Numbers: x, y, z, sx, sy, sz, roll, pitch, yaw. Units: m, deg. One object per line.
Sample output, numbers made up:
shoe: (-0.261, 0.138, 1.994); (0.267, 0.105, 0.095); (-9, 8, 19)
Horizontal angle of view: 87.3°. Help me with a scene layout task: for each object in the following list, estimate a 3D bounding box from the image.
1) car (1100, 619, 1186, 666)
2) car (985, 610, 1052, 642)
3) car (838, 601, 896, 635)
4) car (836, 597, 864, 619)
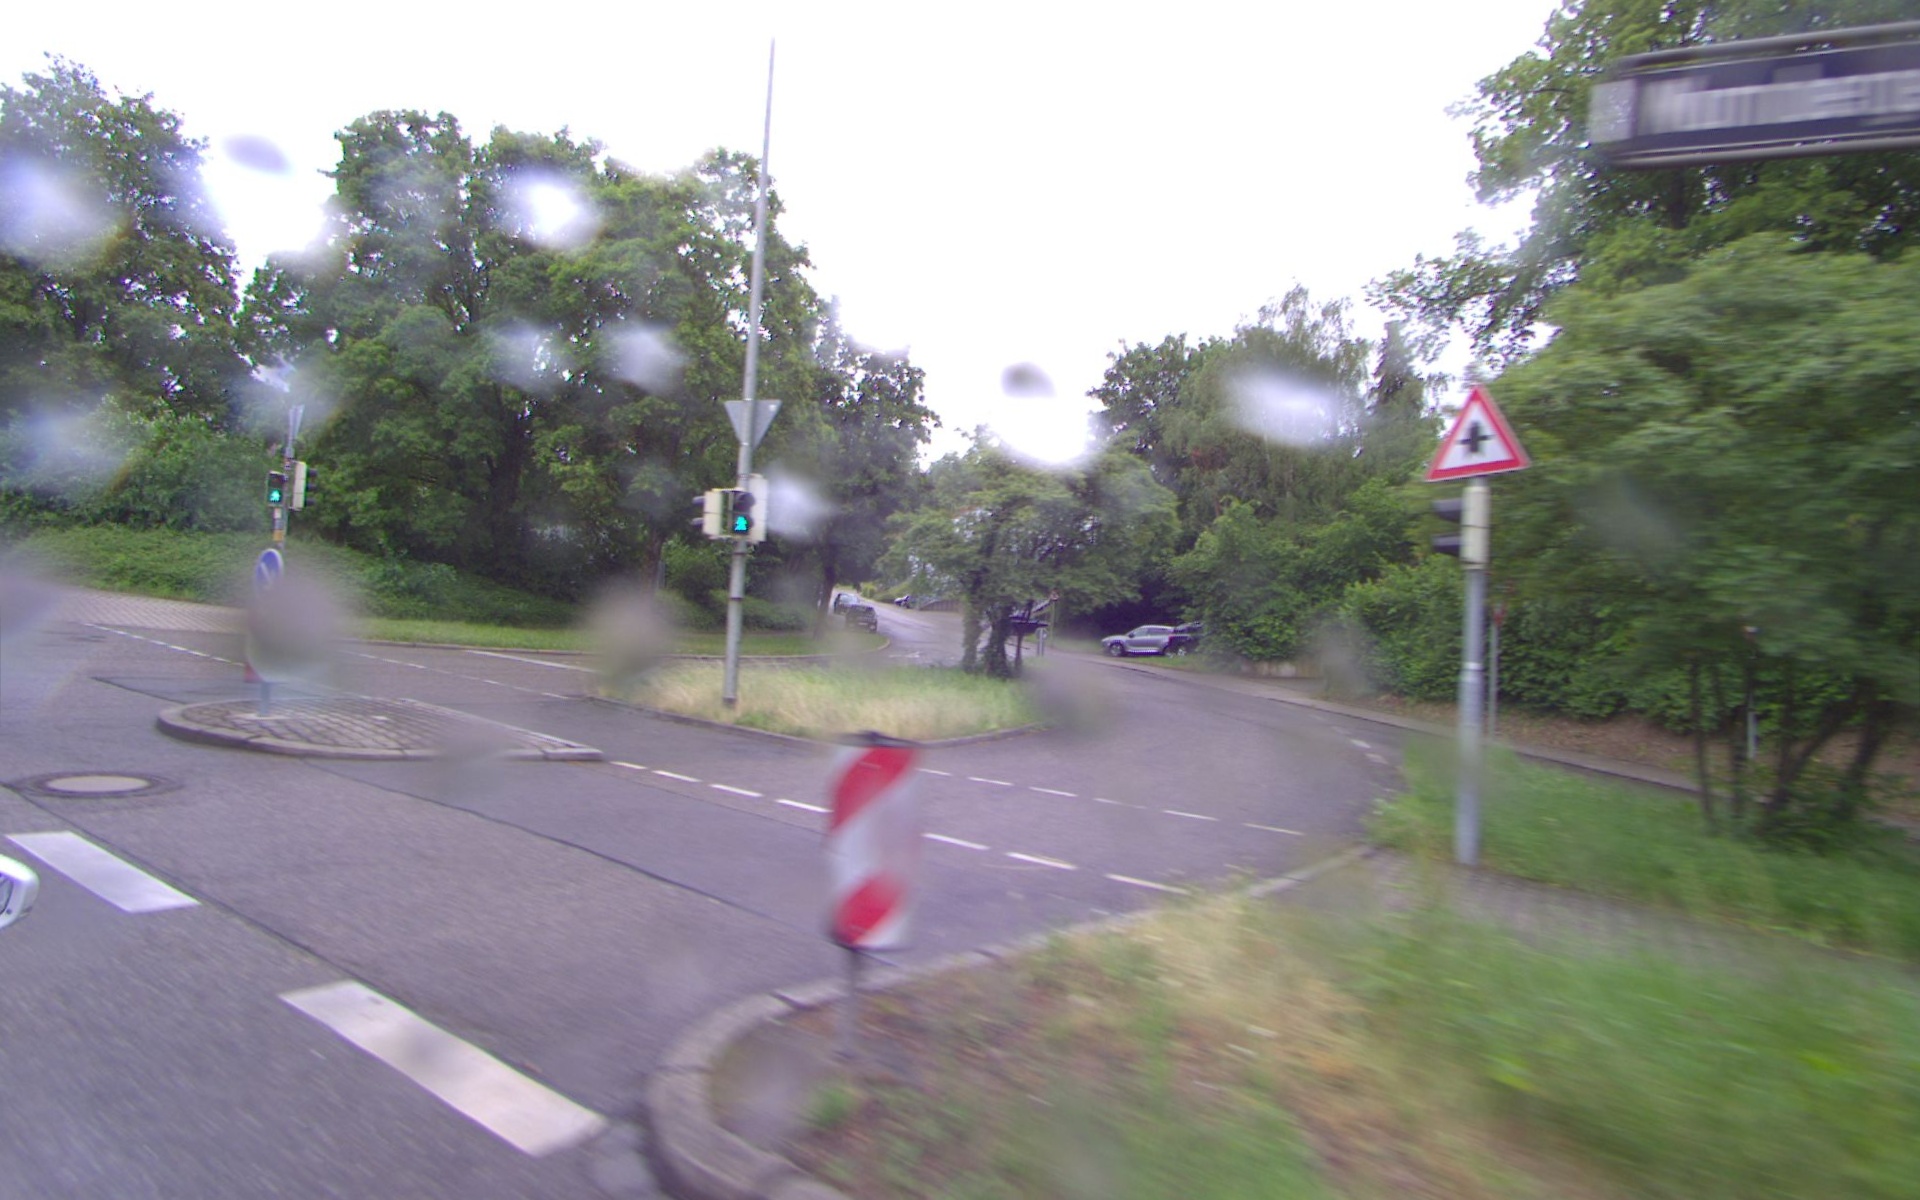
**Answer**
car: (9.397, 2.190, 51.626); (3.925, 1.922, 1.958); (6, 0, 19)
car: (3.915, 1.725, 67.605); (3.936, 1.668, 1.952); (7, -1, -13)
car: (-5.206, 1.071, 56.767); (1.794, 1.590, 4.002); (6, -1, 17)
car: (-8.960, 0.664, 82.303); (1.672, 1.462, 4.004); (7, -3, 0)
